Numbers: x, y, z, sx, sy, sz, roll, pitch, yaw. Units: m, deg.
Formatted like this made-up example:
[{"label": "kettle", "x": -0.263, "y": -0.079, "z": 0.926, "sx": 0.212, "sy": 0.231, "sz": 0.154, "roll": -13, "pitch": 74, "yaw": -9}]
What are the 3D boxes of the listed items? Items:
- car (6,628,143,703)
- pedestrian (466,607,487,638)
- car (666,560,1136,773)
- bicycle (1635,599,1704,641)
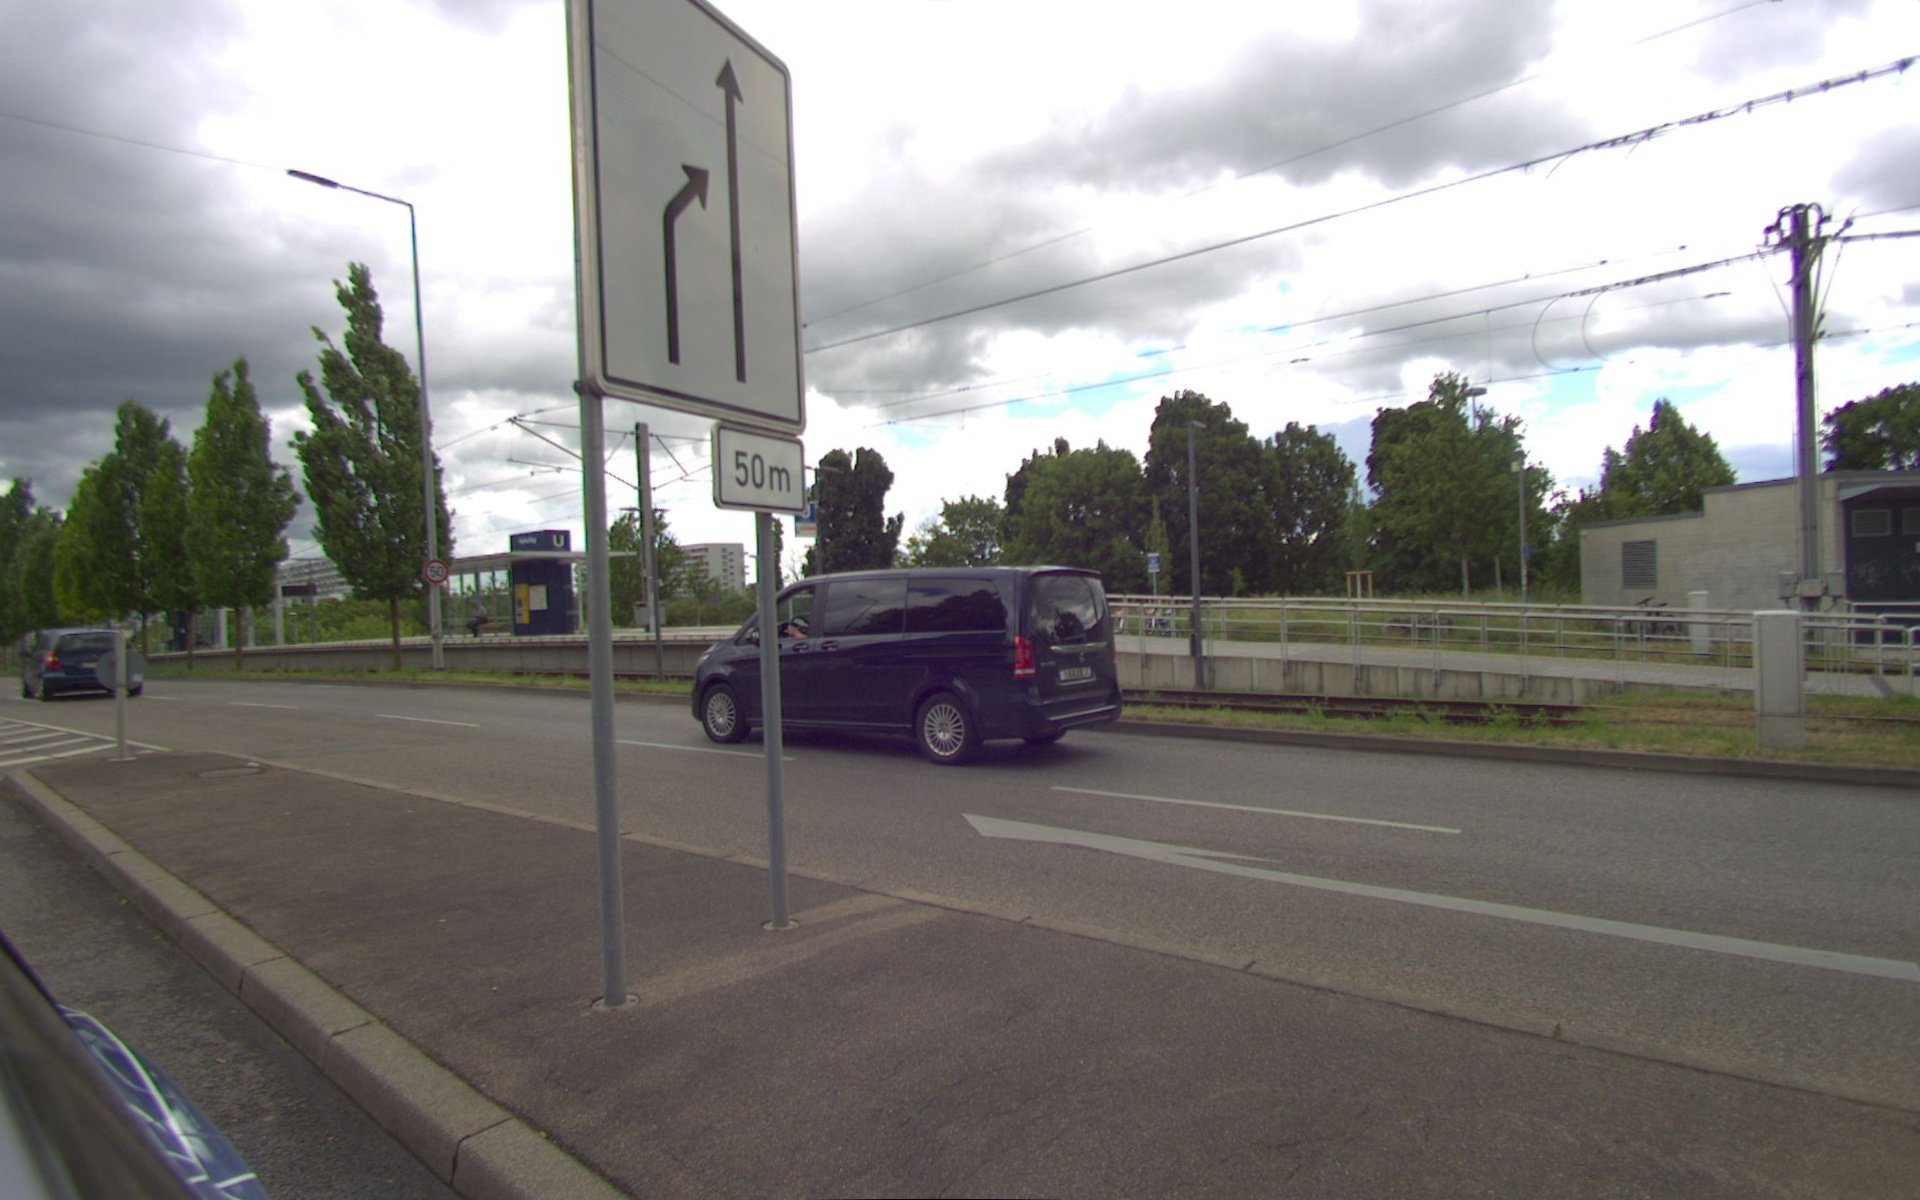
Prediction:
[{"label": "car", "x": -20.200, "y": 1.442, "z": 23.044, "sx": 3.655, "sy": 1.520, "sz": 1.719, "roll": -2, "pitch": -1, "yaw": 38}, {"label": "pedestrian", "x": -18.185, "y": 0.843, "z": 38.045, "sx": 0.447, "sy": 1.163, "sz": 0.593, "roll": -1, "pitch": 0, "yaw": 41}, {"label": "car", "x": -0.822, "y": 0.613, "z": 10.966, "sx": 5.083, "sy": 1.826, "sz": 1.870, "roll": -1, "pitch": -1, "yaw": 37}, {"label": "bicycle", "x": 18.270, "y": 0.501, "z": 26.101, "sx": 0.529, "sy": 1.039, "sz": 1.813, "roll": -1, "pitch": 0, "yaw": 1}]
